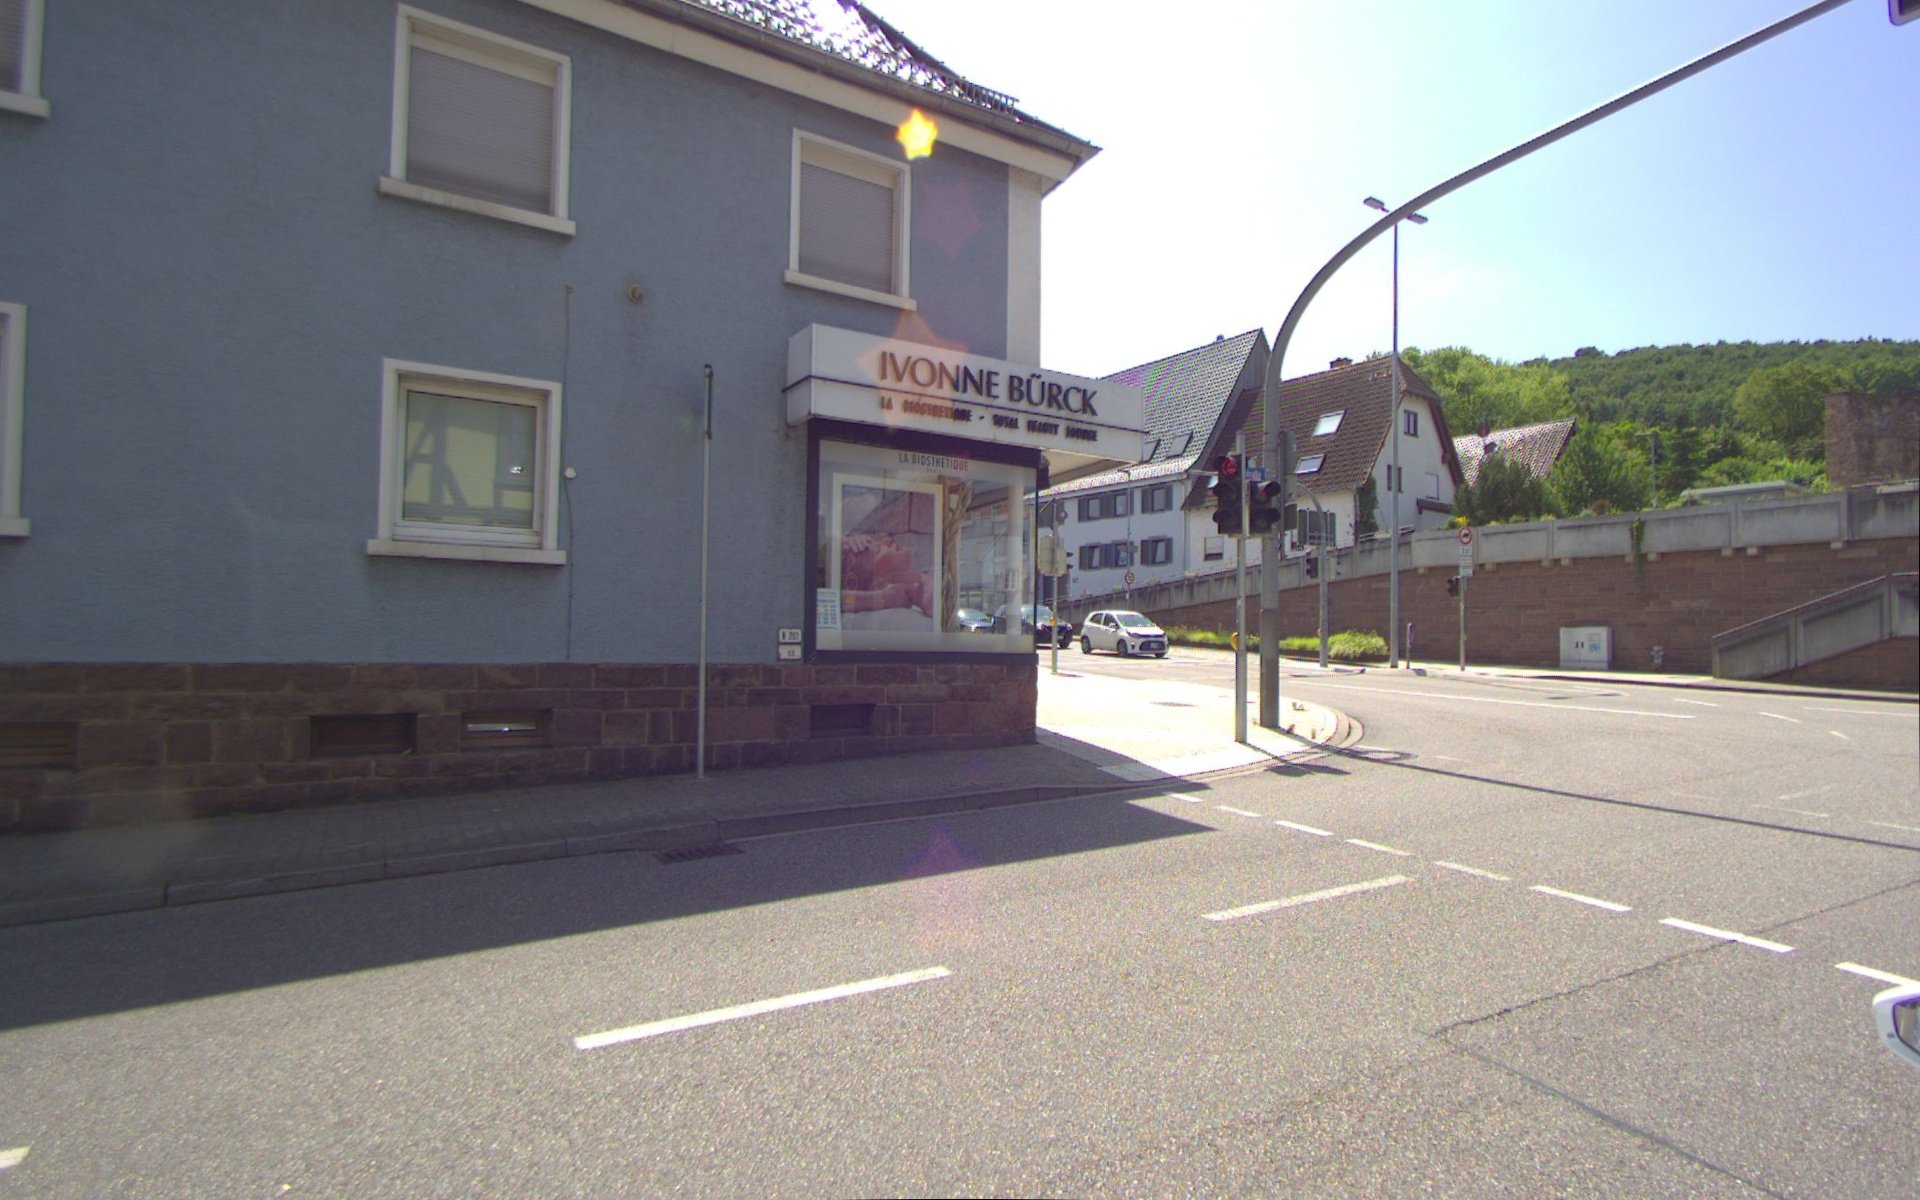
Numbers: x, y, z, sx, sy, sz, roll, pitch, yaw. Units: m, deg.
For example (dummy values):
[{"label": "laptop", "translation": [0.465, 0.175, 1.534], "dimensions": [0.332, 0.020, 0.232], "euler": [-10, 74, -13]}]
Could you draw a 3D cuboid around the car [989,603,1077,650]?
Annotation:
[{"label": "car", "translation": [2.814, 0.974, 39.389], "dimensions": [1.838, 1.737, 3.977], "euler": [0, 0, -23]}]

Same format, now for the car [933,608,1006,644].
[{"label": "car", "translation": [0.396, 1.129, 45.487], "dimensions": [1.838, 1.499, 3.976], "euler": [0, 0, -24]}]

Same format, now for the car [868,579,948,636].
[{"label": "car", "translation": [-2.938, 0.388, 54.663], "dimensions": [2.272, 2.859, 6.469], "euler": [0, 0, -23]}]

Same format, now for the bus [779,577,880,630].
[{"label": "bus", "translation": [-8.865, 0.215, 66.366], "dimensions": [2.515, 3.211, 12.561], "euler": [0, 0, -27]}]

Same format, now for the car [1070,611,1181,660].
[{"label": "car", "translation": [5.520, 1.155, 33.931], "dimensions": [1.838, 1.499, 3.976], "euler": [0, 0, -24]}]
